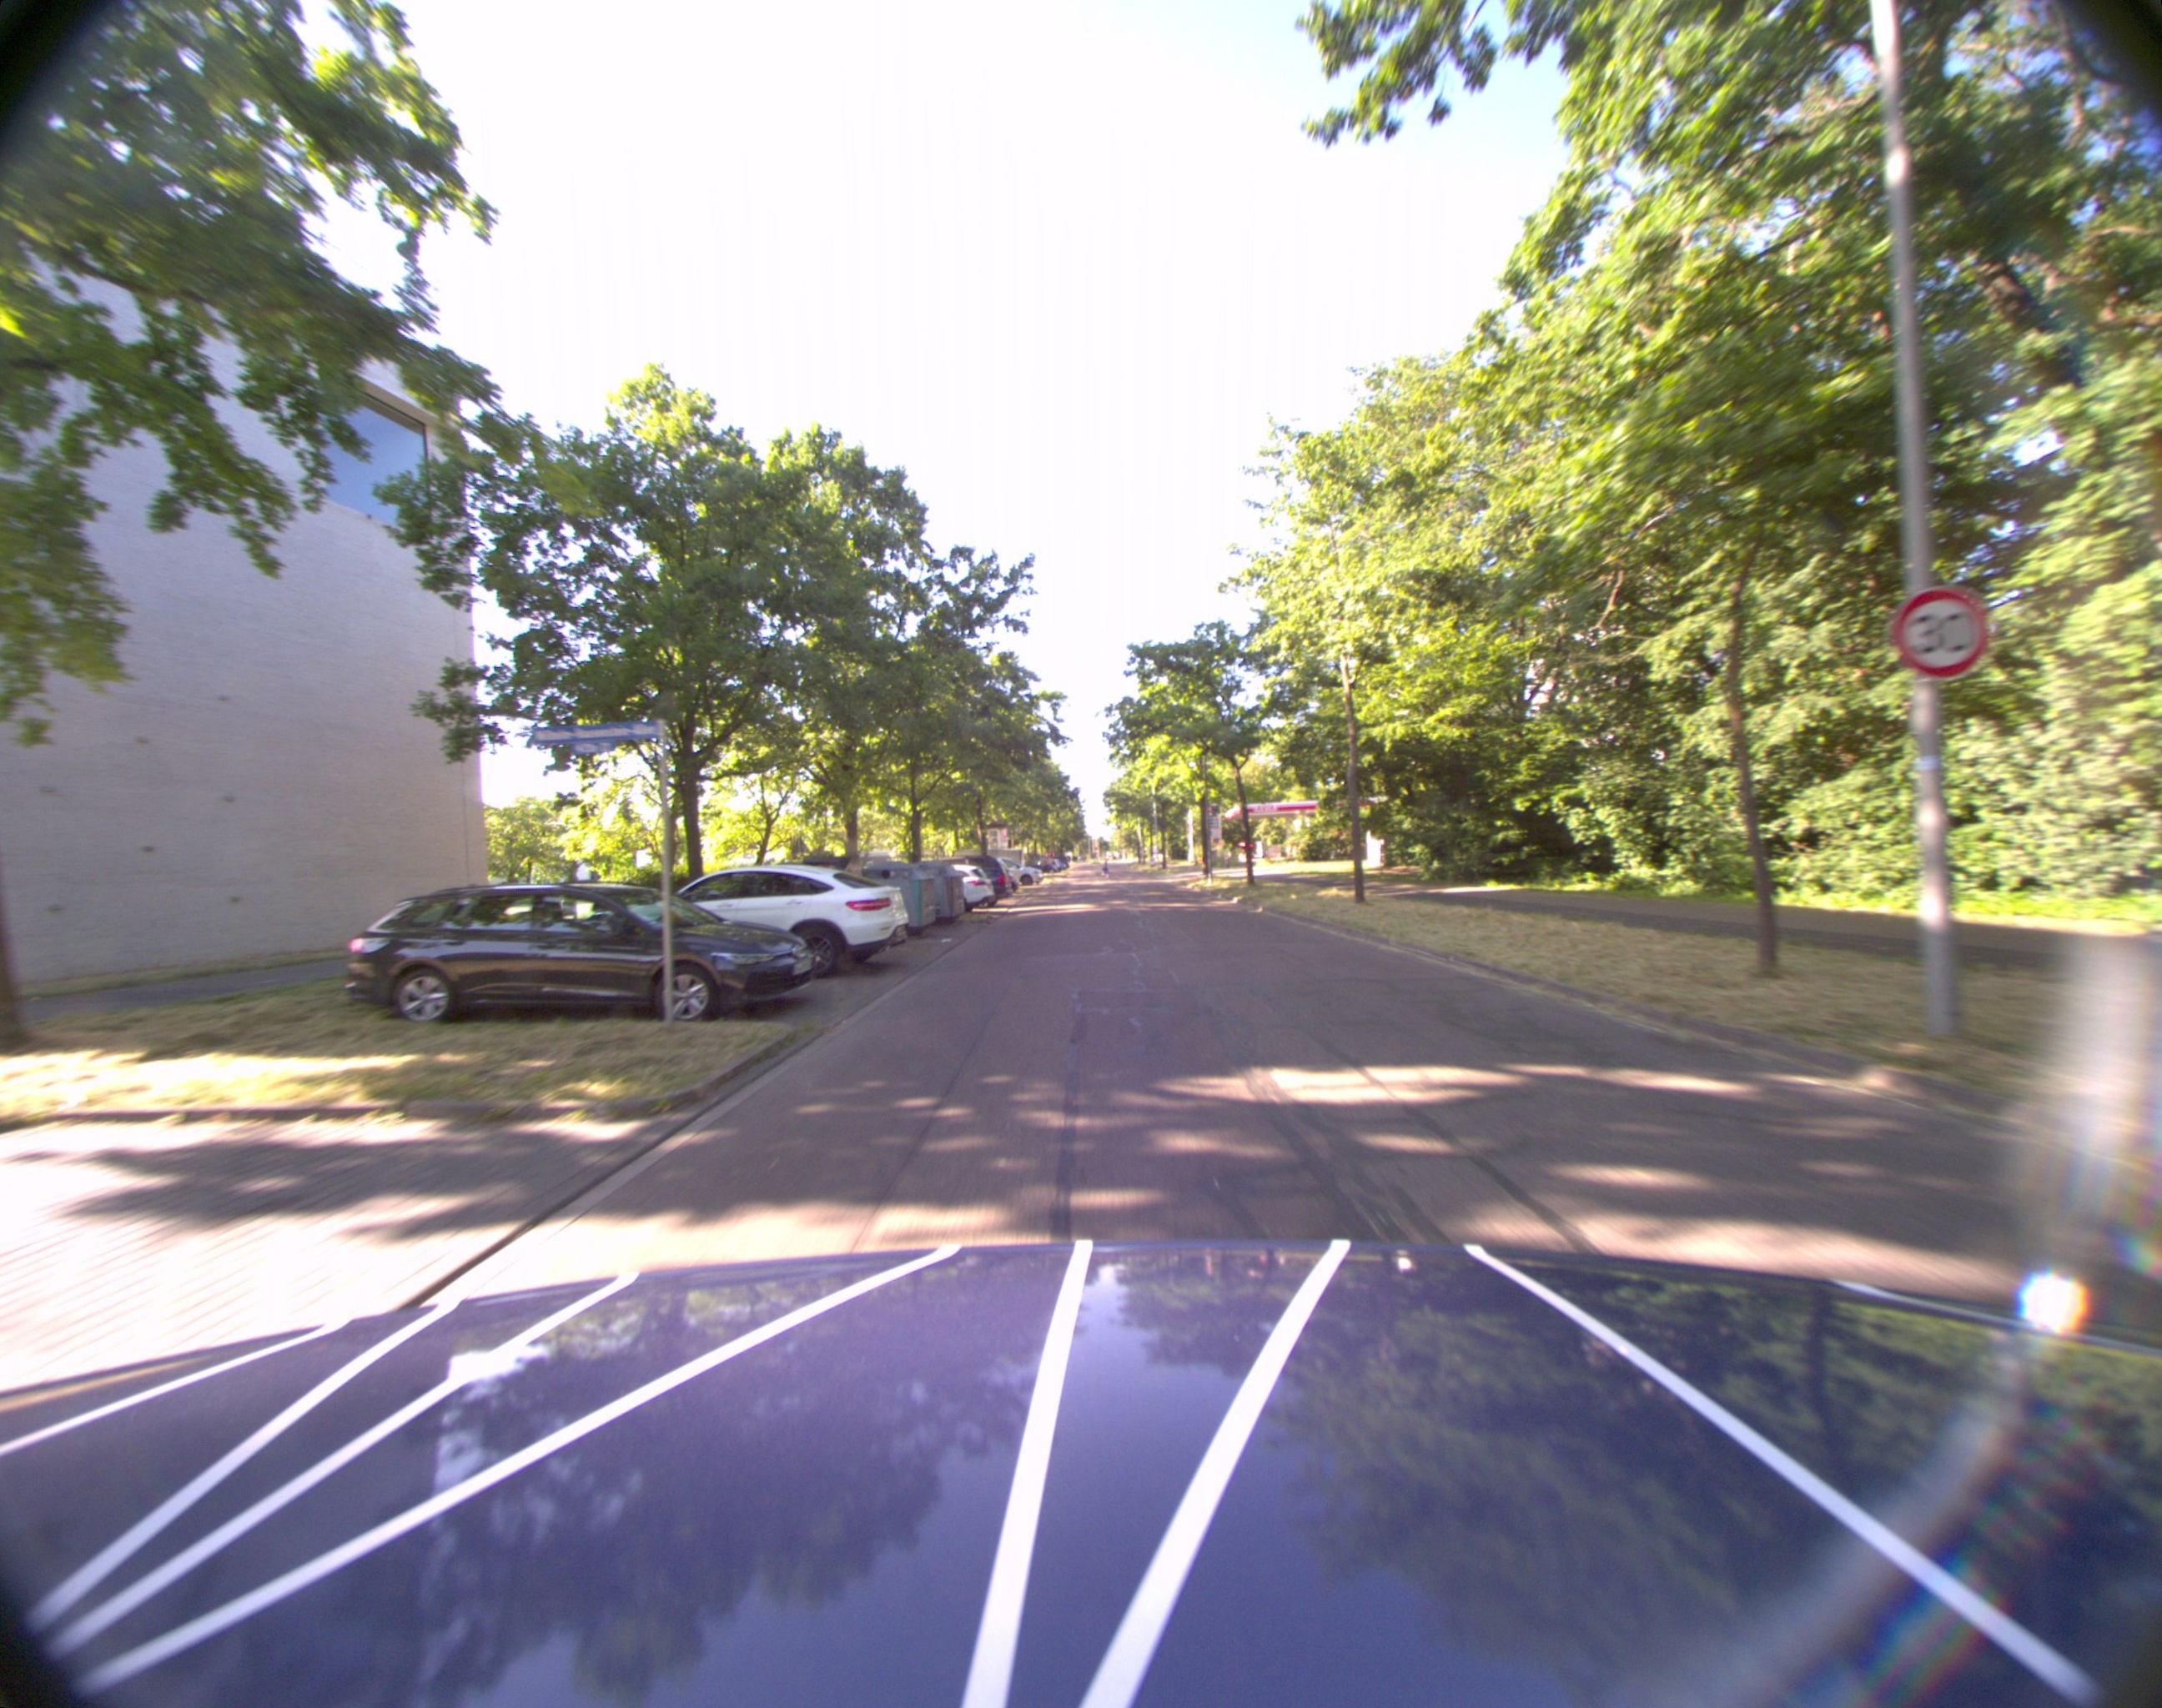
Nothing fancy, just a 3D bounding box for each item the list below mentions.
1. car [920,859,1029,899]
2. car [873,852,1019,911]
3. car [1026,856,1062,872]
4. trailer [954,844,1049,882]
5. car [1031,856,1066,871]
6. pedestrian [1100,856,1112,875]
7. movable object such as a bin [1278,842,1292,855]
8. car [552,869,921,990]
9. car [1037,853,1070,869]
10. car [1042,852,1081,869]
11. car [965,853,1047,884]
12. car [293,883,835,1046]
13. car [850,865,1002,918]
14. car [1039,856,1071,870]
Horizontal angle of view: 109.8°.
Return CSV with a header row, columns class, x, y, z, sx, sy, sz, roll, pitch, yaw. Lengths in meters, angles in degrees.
class,x,y,z,sx,sy,sz,roll,pitch,yaw
car,-4.493,1.037,32.418,4.255,1.510,2.078,-2,0,2
car,-4.494,0.901,25.847,4.541,1.790,1.936,-2,0,1
car,-3.802,1.031,77.907,3.592,1.567,1.857,-1,0,0
trailer,-5.003,0.576,48.195,5.788,2.304,1.686,-1,0,3
car,-3.492,1.026,82.836,3.592,1.567,1.786,-1,0,2
pedestrian,1.978,0.889,59.541,0.942,1.491,0.885,-1,0,2
movable object such as a bin,25.735,-0.682,95.839,1.307,1.533,1.164,-4,0,2
car,-4.994,1.072,11.514,4.682,1.571,1.917,-1,0,1
car,-3.472,0.845,94.732,4.019,1.826,1.799,-1,1,-2
car,-2.464,0.766,97.377,4.815,2.020,1.944,-2,0,0
car,-4.419,0.868,45.380,4.653,1.712,1.988,-1,0,2
car,-5.410,1.127,8.452,4.682,1.447,1.917,-1,0,0
car,-4.684,1.122,23.350,4.231,1.463,1.800,-1,0,2
car,-3.032,1.004,87.503,3.529,1.523,1.665,-1,1,2
